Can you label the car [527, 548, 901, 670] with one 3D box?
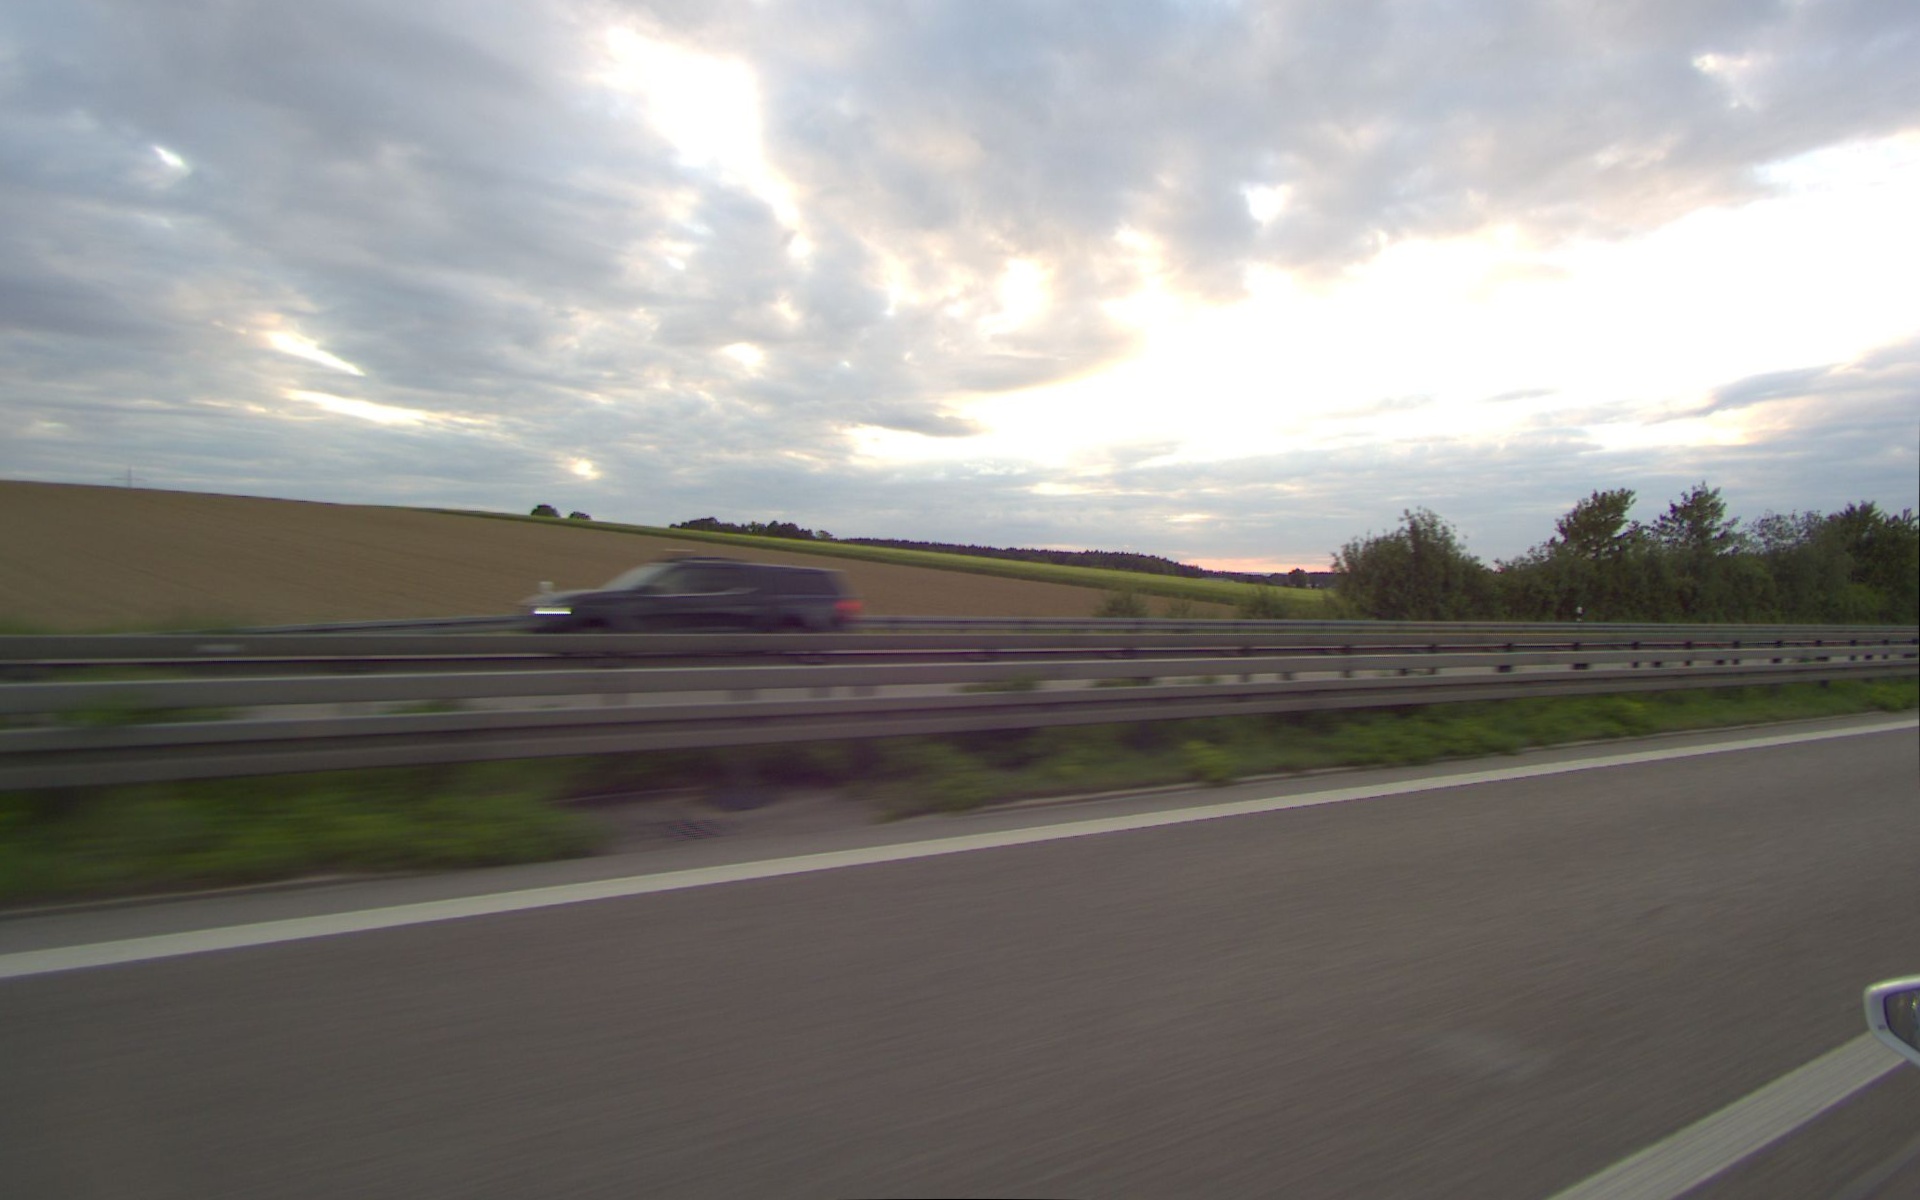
[{"bbox_3d":[-3.955,0.115,16.594,5.700,1.716,1.877,1,3,-30],"label":"car"}]
